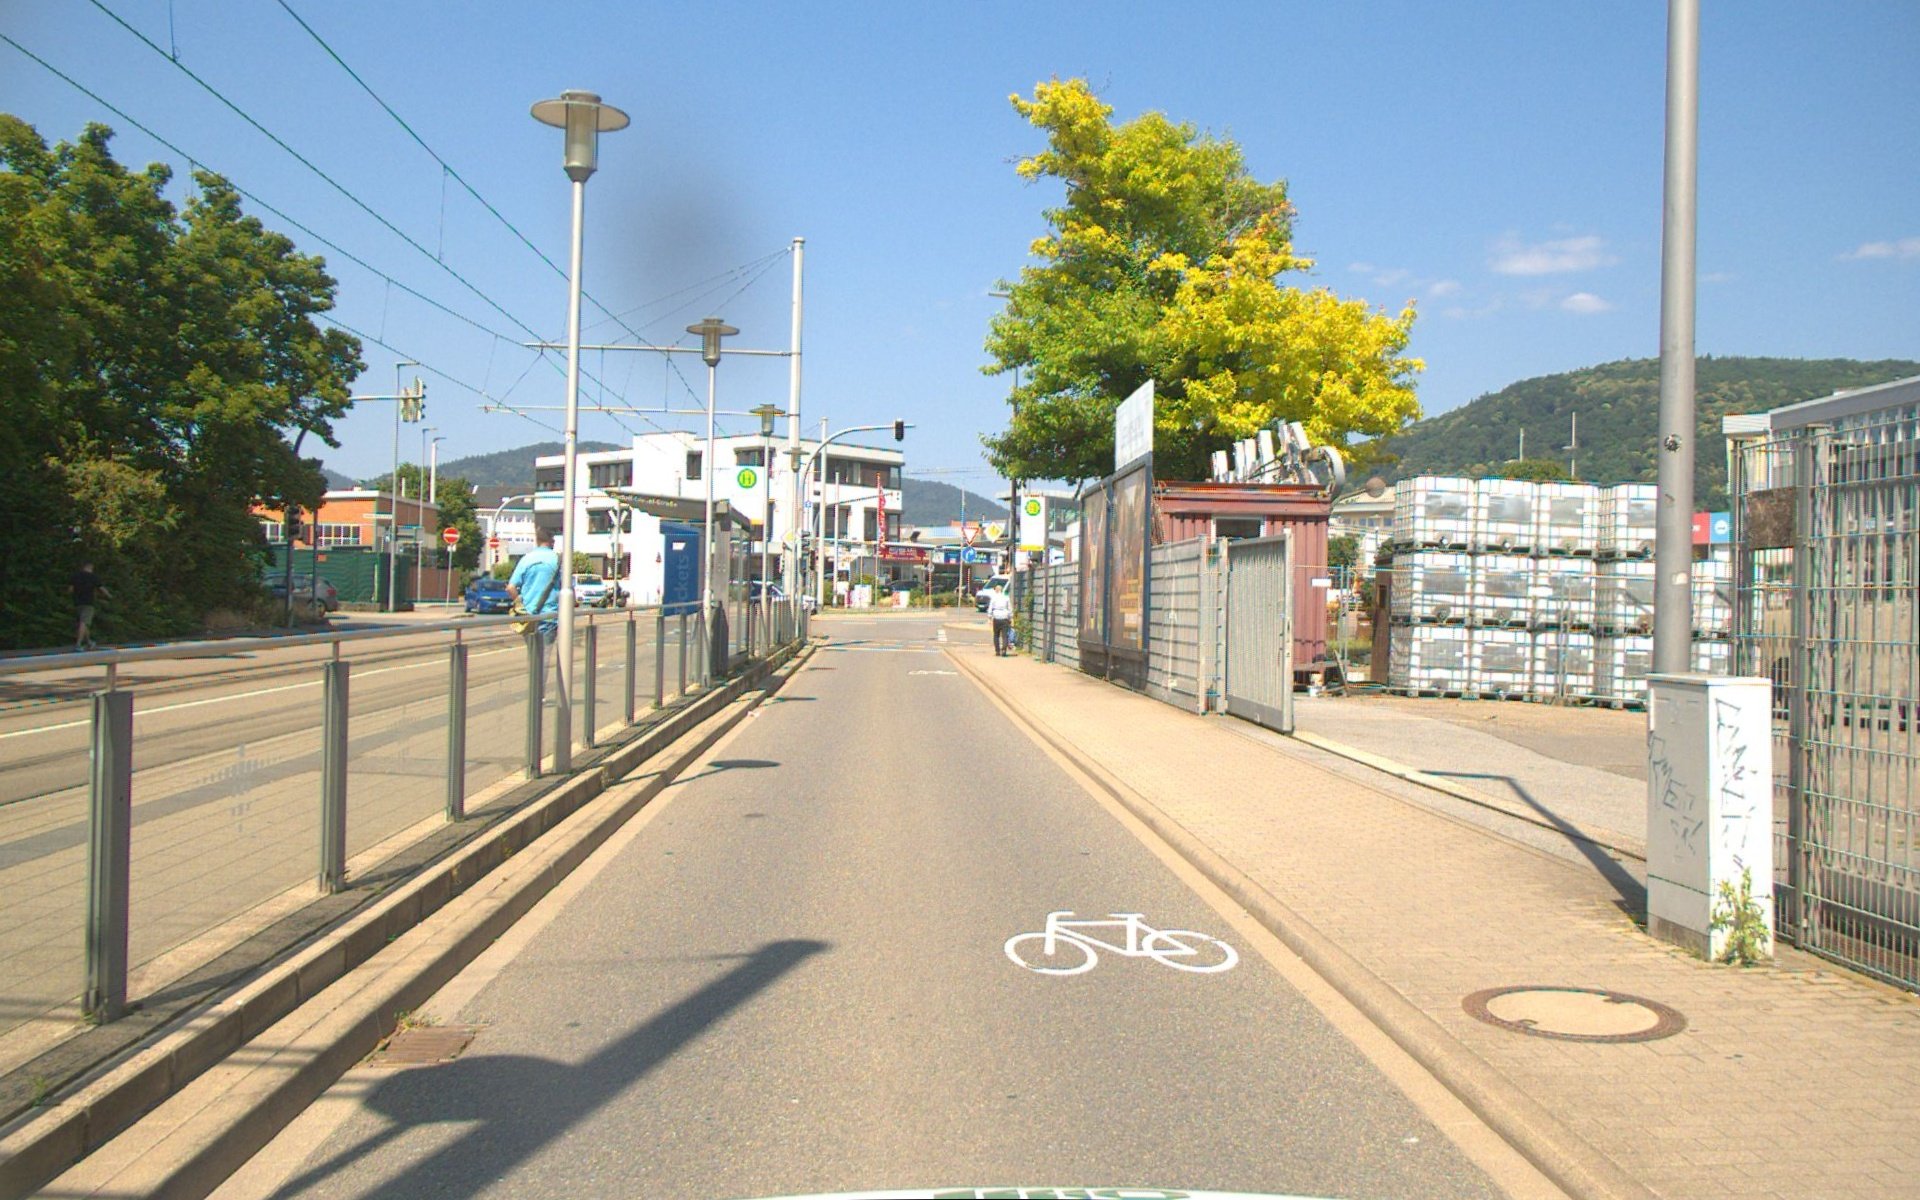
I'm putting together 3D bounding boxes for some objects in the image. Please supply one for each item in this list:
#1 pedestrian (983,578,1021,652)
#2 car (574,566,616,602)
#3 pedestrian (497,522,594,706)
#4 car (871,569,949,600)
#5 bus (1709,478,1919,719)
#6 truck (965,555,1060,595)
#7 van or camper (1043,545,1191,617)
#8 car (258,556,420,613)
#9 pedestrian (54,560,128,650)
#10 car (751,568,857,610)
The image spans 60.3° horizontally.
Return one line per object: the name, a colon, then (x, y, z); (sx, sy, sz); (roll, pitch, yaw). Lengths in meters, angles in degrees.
pedestrian: (0.989, 0.344, 39.072); (0.796, 1.729, 0.886); (0, 0, -5)
car: (-21.715, -0.940, 98.594); (2.122, 2.049, 5.007); (1, 0, -9)
pedestrian: (-4.097, 0.127, 16.393); (0.709, 1.754, 0.944); (2, 1, -3)
car: (-3.267, -1.004, 109.010); (1.933, 2.000, 5.244); (1, 1, 44)
bus: (14.085, 0.006, 22.888); (2.514, 3.227, 10.263); (1, -1, -2)
truck: (3.329, -1.535, 103.186); (6.342, 2.378, 2.173); (0, 1, -45)
van or camper: (6.191, -0.776, 65.820); (5.691, 2.822, 2.091); (0, 1, 0)
car: (-21.352, -0.547, 57.022); (2.064, 1.870, 4.881); (0, 1, 42)
pedestrian: (-16.728, 0.081, 31.864); (0.868, 1.699, 1.159); (0, 0, -3)
car: (-6.731, -0.486, 71.149); (4.465, 1.763, 1.996); (0, 1, -9)
